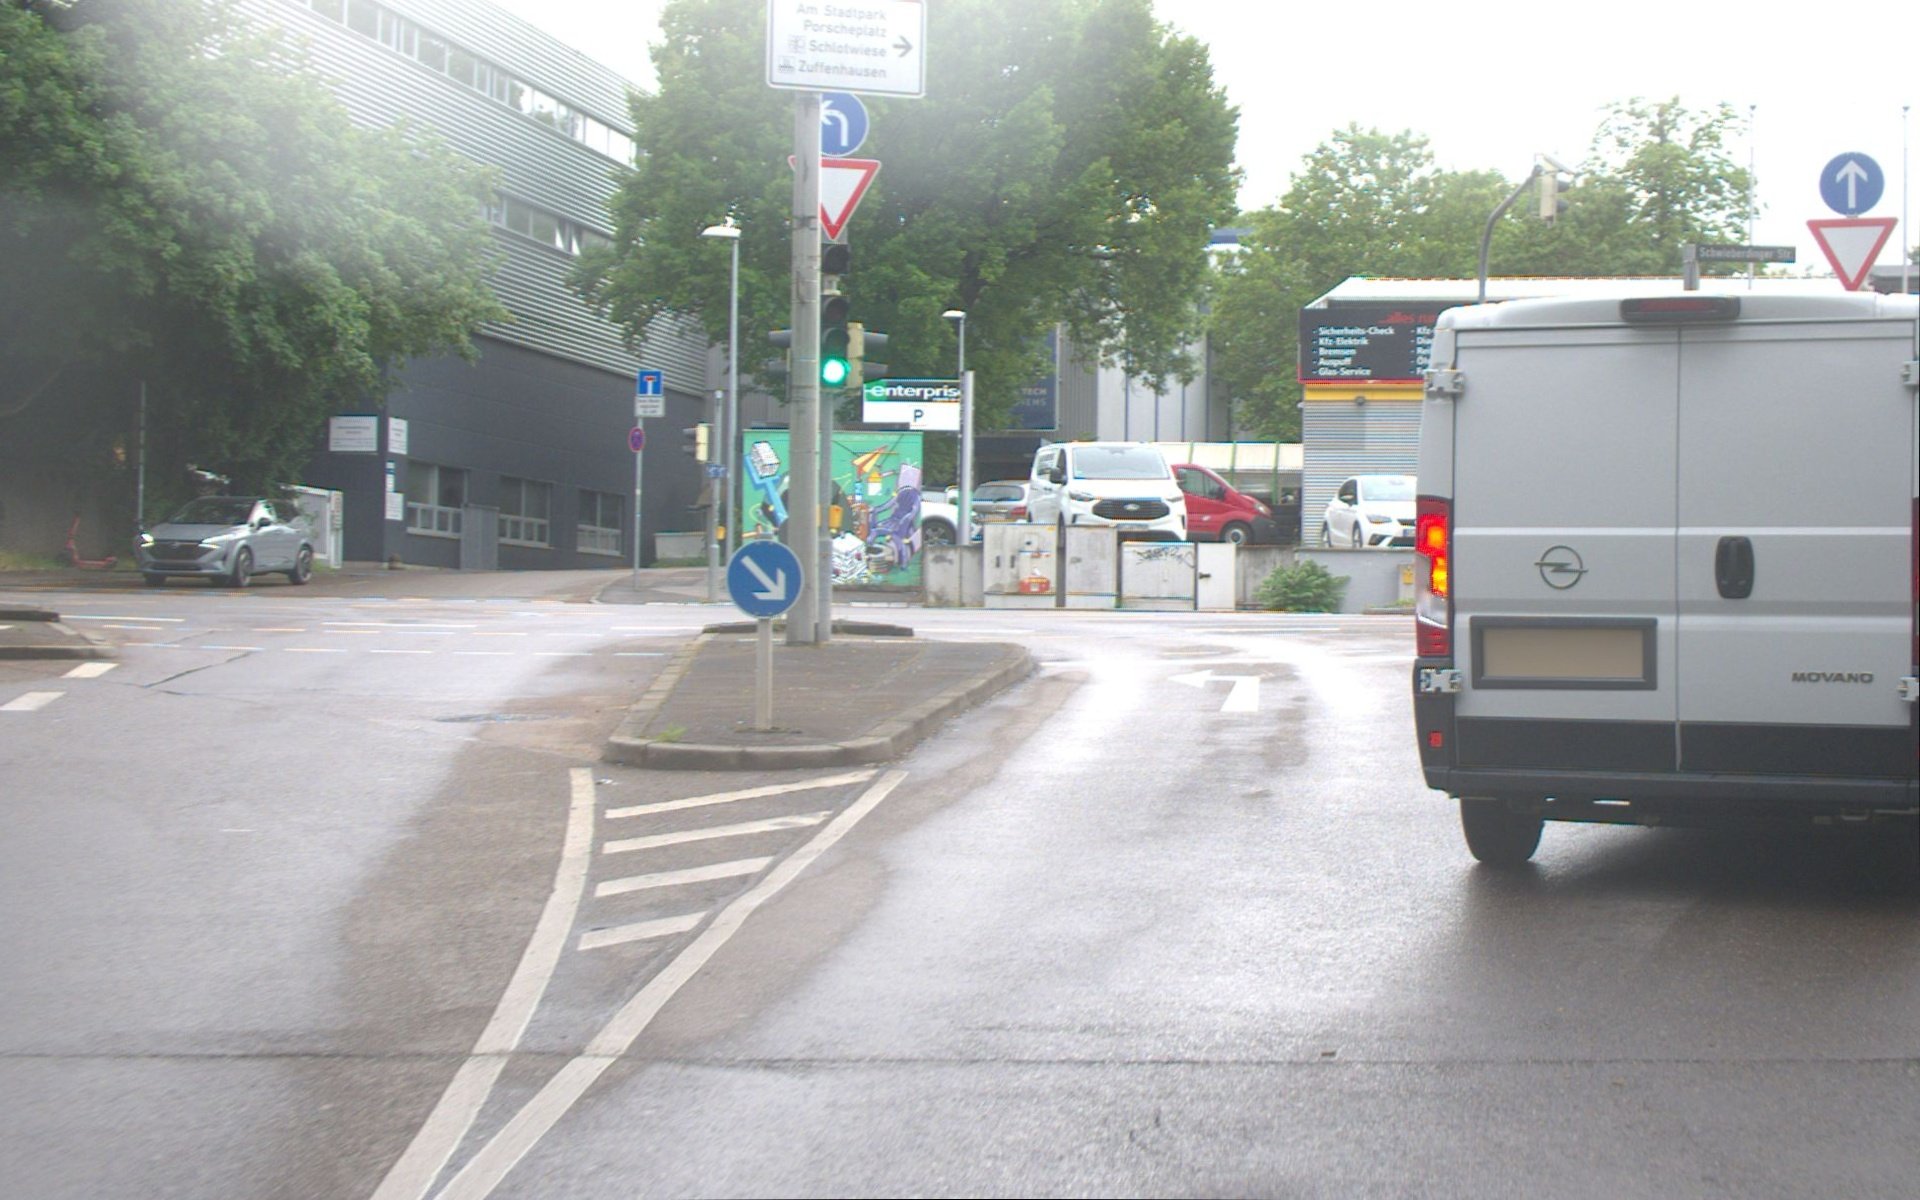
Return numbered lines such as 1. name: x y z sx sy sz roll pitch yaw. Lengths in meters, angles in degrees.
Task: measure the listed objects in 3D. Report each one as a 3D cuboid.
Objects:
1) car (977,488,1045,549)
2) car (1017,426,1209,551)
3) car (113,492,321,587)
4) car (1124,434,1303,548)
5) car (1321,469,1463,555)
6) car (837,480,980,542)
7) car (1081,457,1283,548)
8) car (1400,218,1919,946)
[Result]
1. car: 1.175 -1.847 78.503 1.209 1.299 2.337 1 -1 9
2. car: 2.464 -1.802 56.923 2.212 1.795 5.373 1 -1 -8
3. car: -13.269 -1.118 61.635 2.029 1.594 4.380 1 2 12
4. car: 5.801 -2.485 78.532 3.975 2.489 1.653 1 -1 7
5. car: 7.105 -1.476 56.875 1.867 1.364 3.623 0 2 0
6. car: -1.024 -1.741 67.482 2.712 1.101 1.198 1 -1 -5
7. car: 4.867 -2.130 75.179 4.297 1.854 1.740 1 -1 7
8. car: 3.542 -0.199 14.419 2.052 2.507 4.938 2 3 23
